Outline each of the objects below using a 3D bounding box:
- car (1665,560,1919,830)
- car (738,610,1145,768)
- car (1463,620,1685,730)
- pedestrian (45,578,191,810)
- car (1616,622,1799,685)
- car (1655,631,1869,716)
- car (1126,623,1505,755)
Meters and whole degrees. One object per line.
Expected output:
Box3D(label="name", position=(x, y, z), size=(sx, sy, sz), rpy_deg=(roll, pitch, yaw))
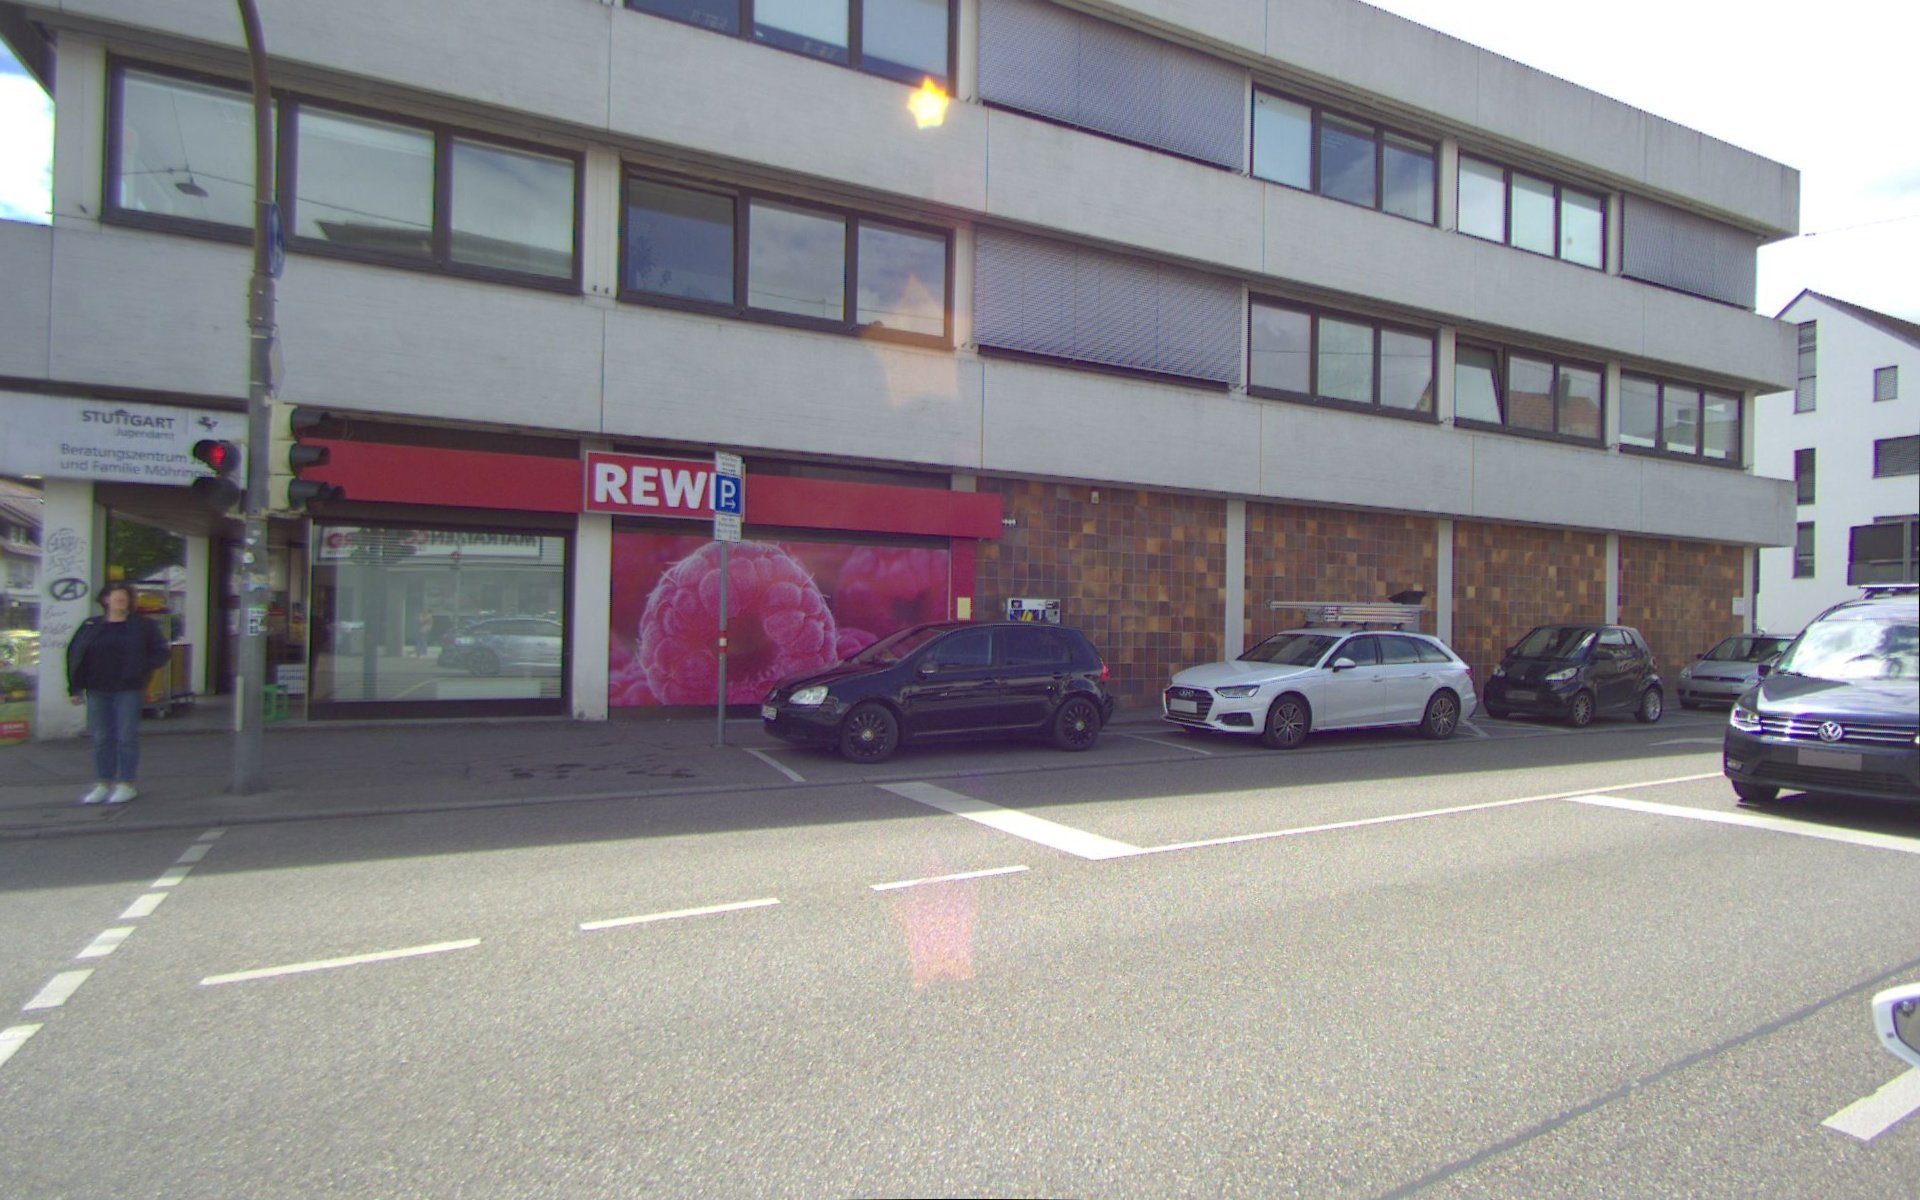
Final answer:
Box3D(label="car", position=(8.498, 0.733, 8.916), size=(4.822, 1.901, 1.938), rpy_deg=(1, -2, -32))
Box3D(label="car", position=(-0.184, 0.901, 11.555), size=(4.232, 1.495, 2.035), rpy_deg=(1, 0, -29))
Box3D(label="car", position=(9.892, 1.137, 16.203), size=(3.017, 1.576, 1.730), rpy_deg=(1, 0, -27))
Box3D(label="pedestrian", position=(-6.410, 0.681, 7.688), size=(0.672, 1.666, 0.715), rpy_deg=(1, 0, -25))
Box3D(label="car", position=(20.937, 1.478, 28.133), size=(4.860, 1.640, 1.947), rpy_deg=(1, -4, -24))
Box3D(label="car", position=(15.377, 1.342, 19.226), size=(4.096, 1.441, 1.715), rpy_deg=(1, 0, -28))
Box3D(label="car", position=(4.841, 1.086, 13.569), size=(4.888, 1.463, 2.037), rpy_deg=(1, 0, -27))
